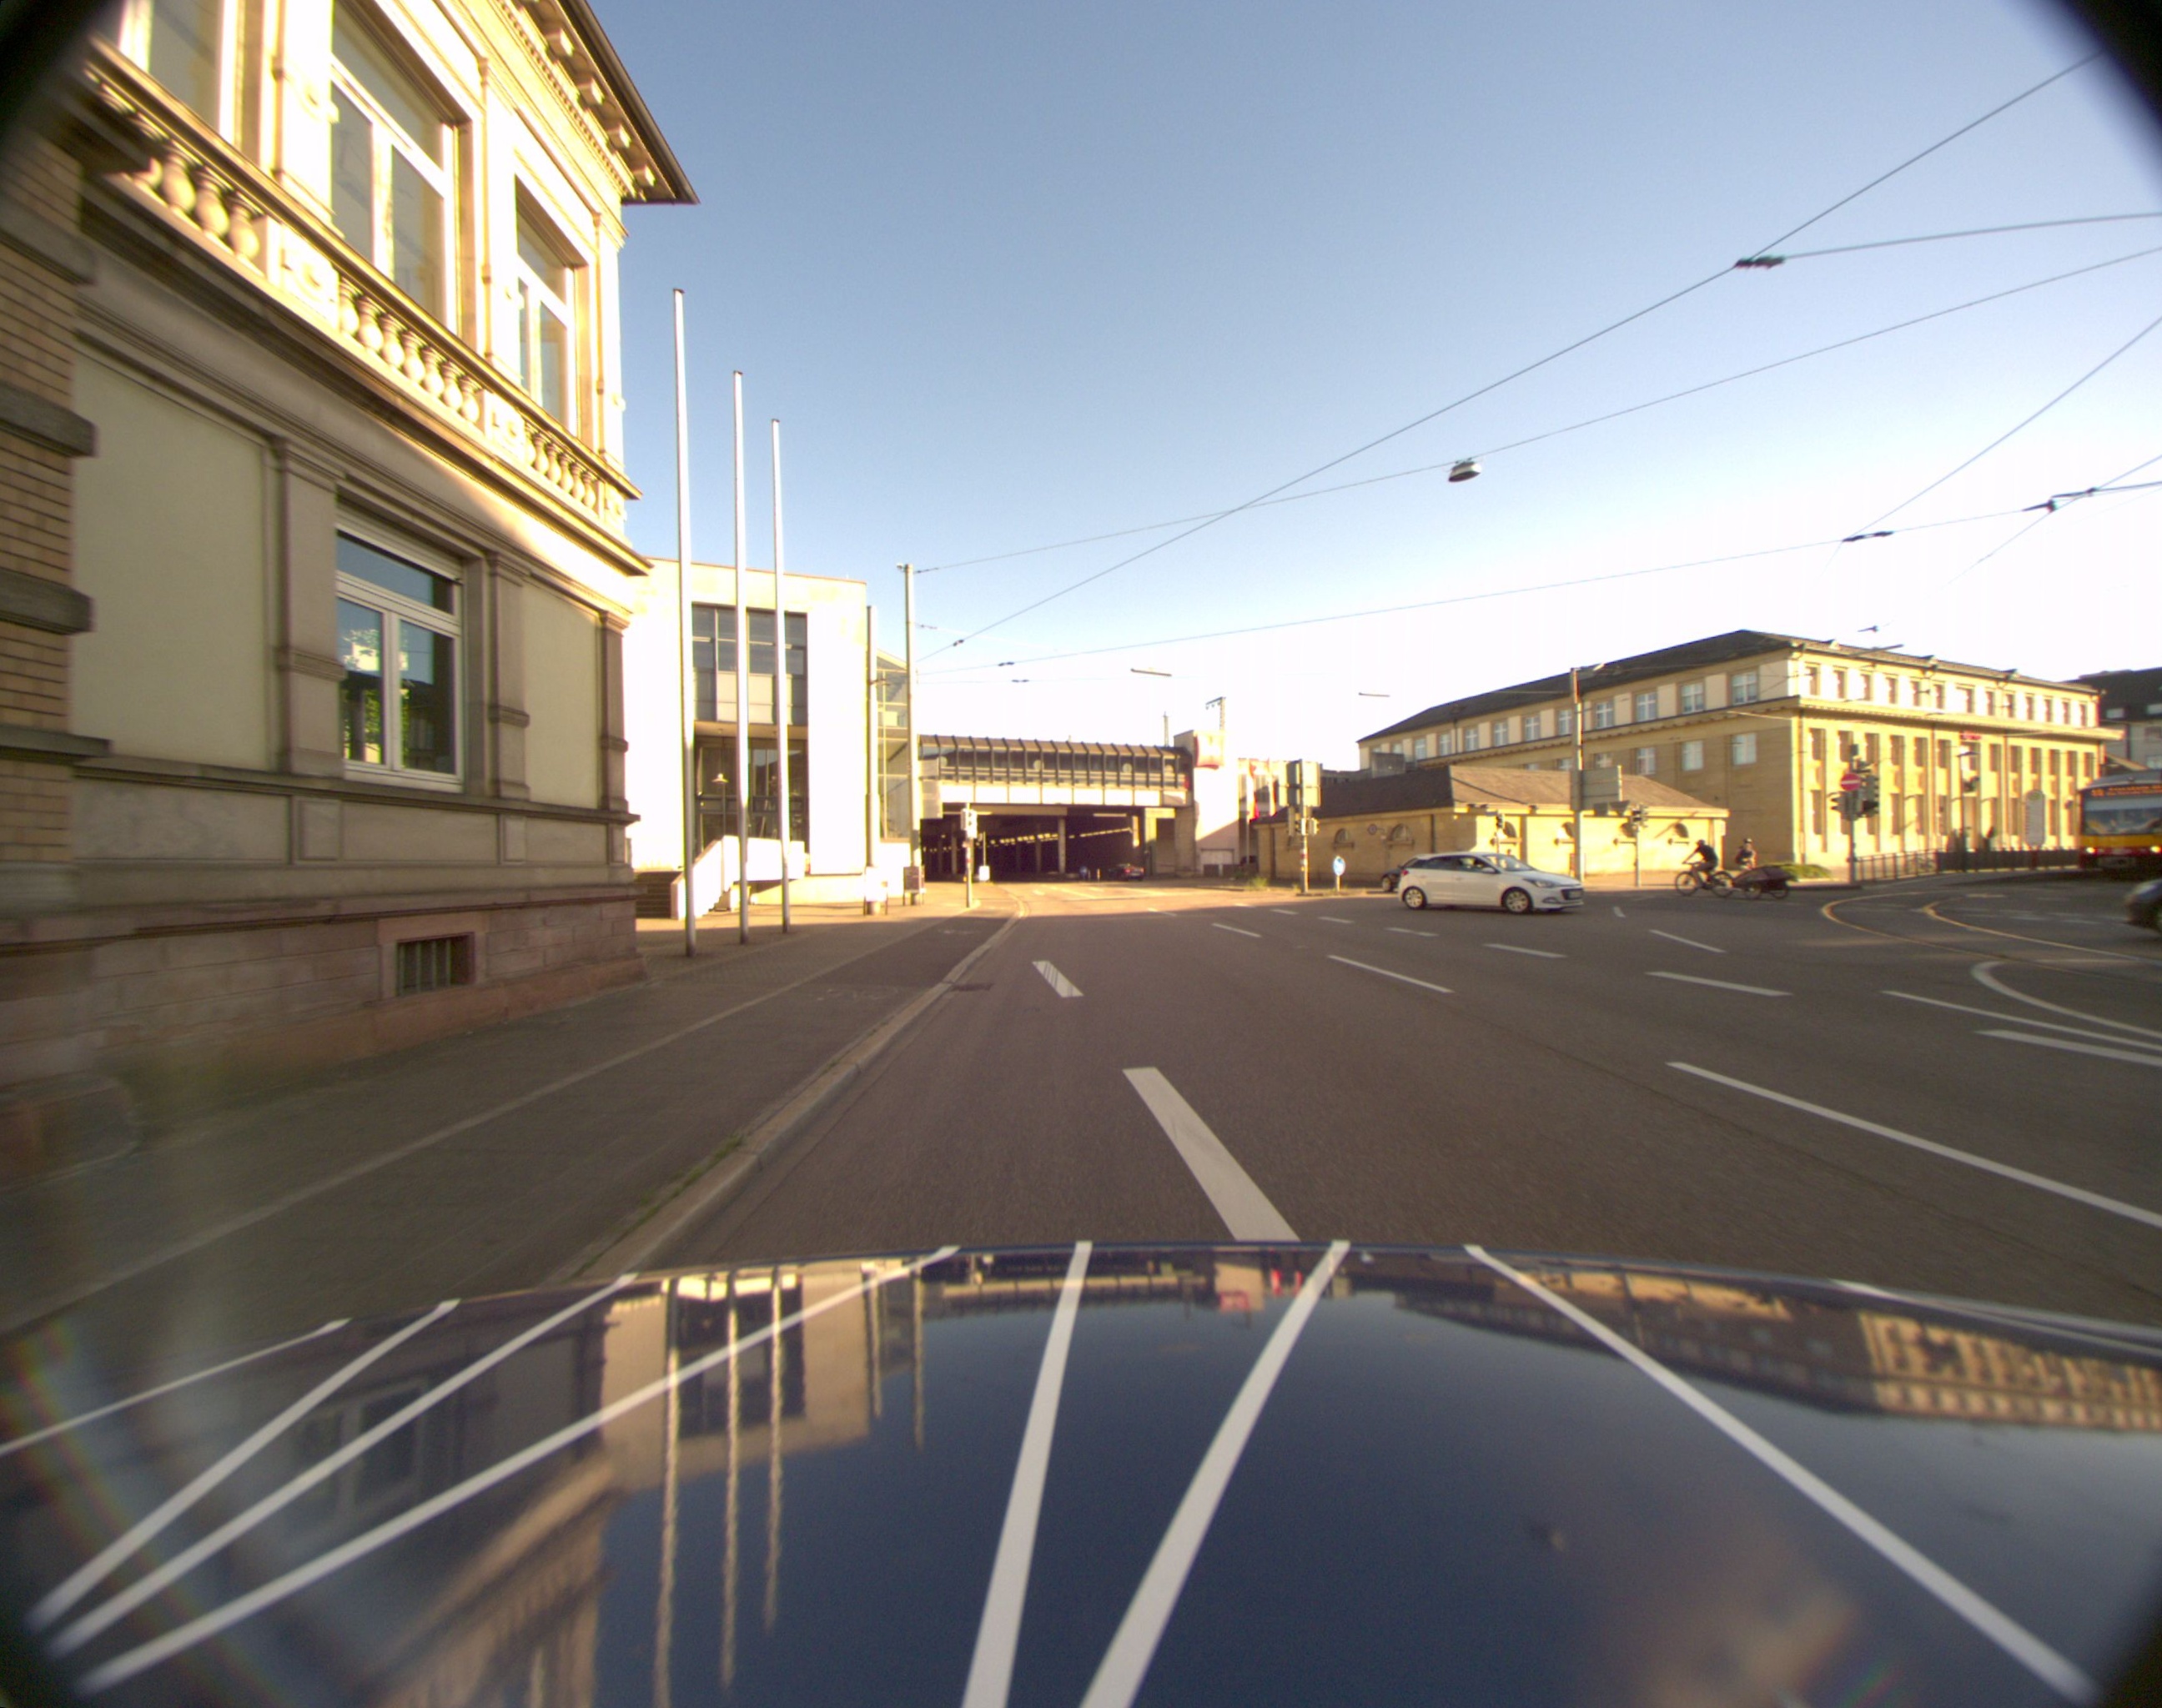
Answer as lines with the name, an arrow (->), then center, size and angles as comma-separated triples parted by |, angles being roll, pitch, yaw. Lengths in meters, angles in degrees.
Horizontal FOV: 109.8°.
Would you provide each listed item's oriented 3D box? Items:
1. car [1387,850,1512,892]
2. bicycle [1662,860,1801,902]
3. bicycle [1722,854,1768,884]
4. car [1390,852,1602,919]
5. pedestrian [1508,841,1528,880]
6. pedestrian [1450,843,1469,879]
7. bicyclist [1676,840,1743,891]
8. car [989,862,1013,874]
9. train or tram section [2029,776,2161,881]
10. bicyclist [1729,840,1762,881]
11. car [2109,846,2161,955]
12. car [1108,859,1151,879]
car -> 13.597, 0.598, 28.390 | 2.000, 1.384, 4.558 | -1, 0, -8
bicycle -> 17.768, 0.692, 20.916 | 0.936, 1.050, 3.354 | -1, 0, 0
bicycle -> 27.346, 0.613, 31.283 | 2.076, 1.129, 0.684 | -2, 1, -27
car -> 9.758, 0.695, 18.184 | 1.795, 1.385, 4.095 | -1, 0, -32
pedestrian -> 18.460, 0.293, 32.131 | 0.624, 1.630, 0.490 | -1, 0, 42
pedestrian -> 17.029, 0.310, 34.199 | 0.624, 1.630, 0.516 | -1, 0, 42
bicyclist -> 17.774, 0.329, 21.518 | 0.936, 1.374, 1.148 | -1, 0, 0
car -> -9.832, 1.759, 92.739 | 1.818, 1.382, 4.240 | -1, 0, -21
train or tram section -> 39.130, -0.893, 27.156 | 11.830, 3.301, 3.162 | -1, 0, -21
bicyclist -> 27.372, 0.279, 31.297 | 0.941, 1.630, 0.676 | -2, 1, -26
car -> 15.528, 0.591, 8.460 | 1.928, 1.446, 4.496 | -1, 0, -5
car -> 3.673, 1.111, 57.938 | 1.831, 1.417, 4.321 | -1, 0, -17
